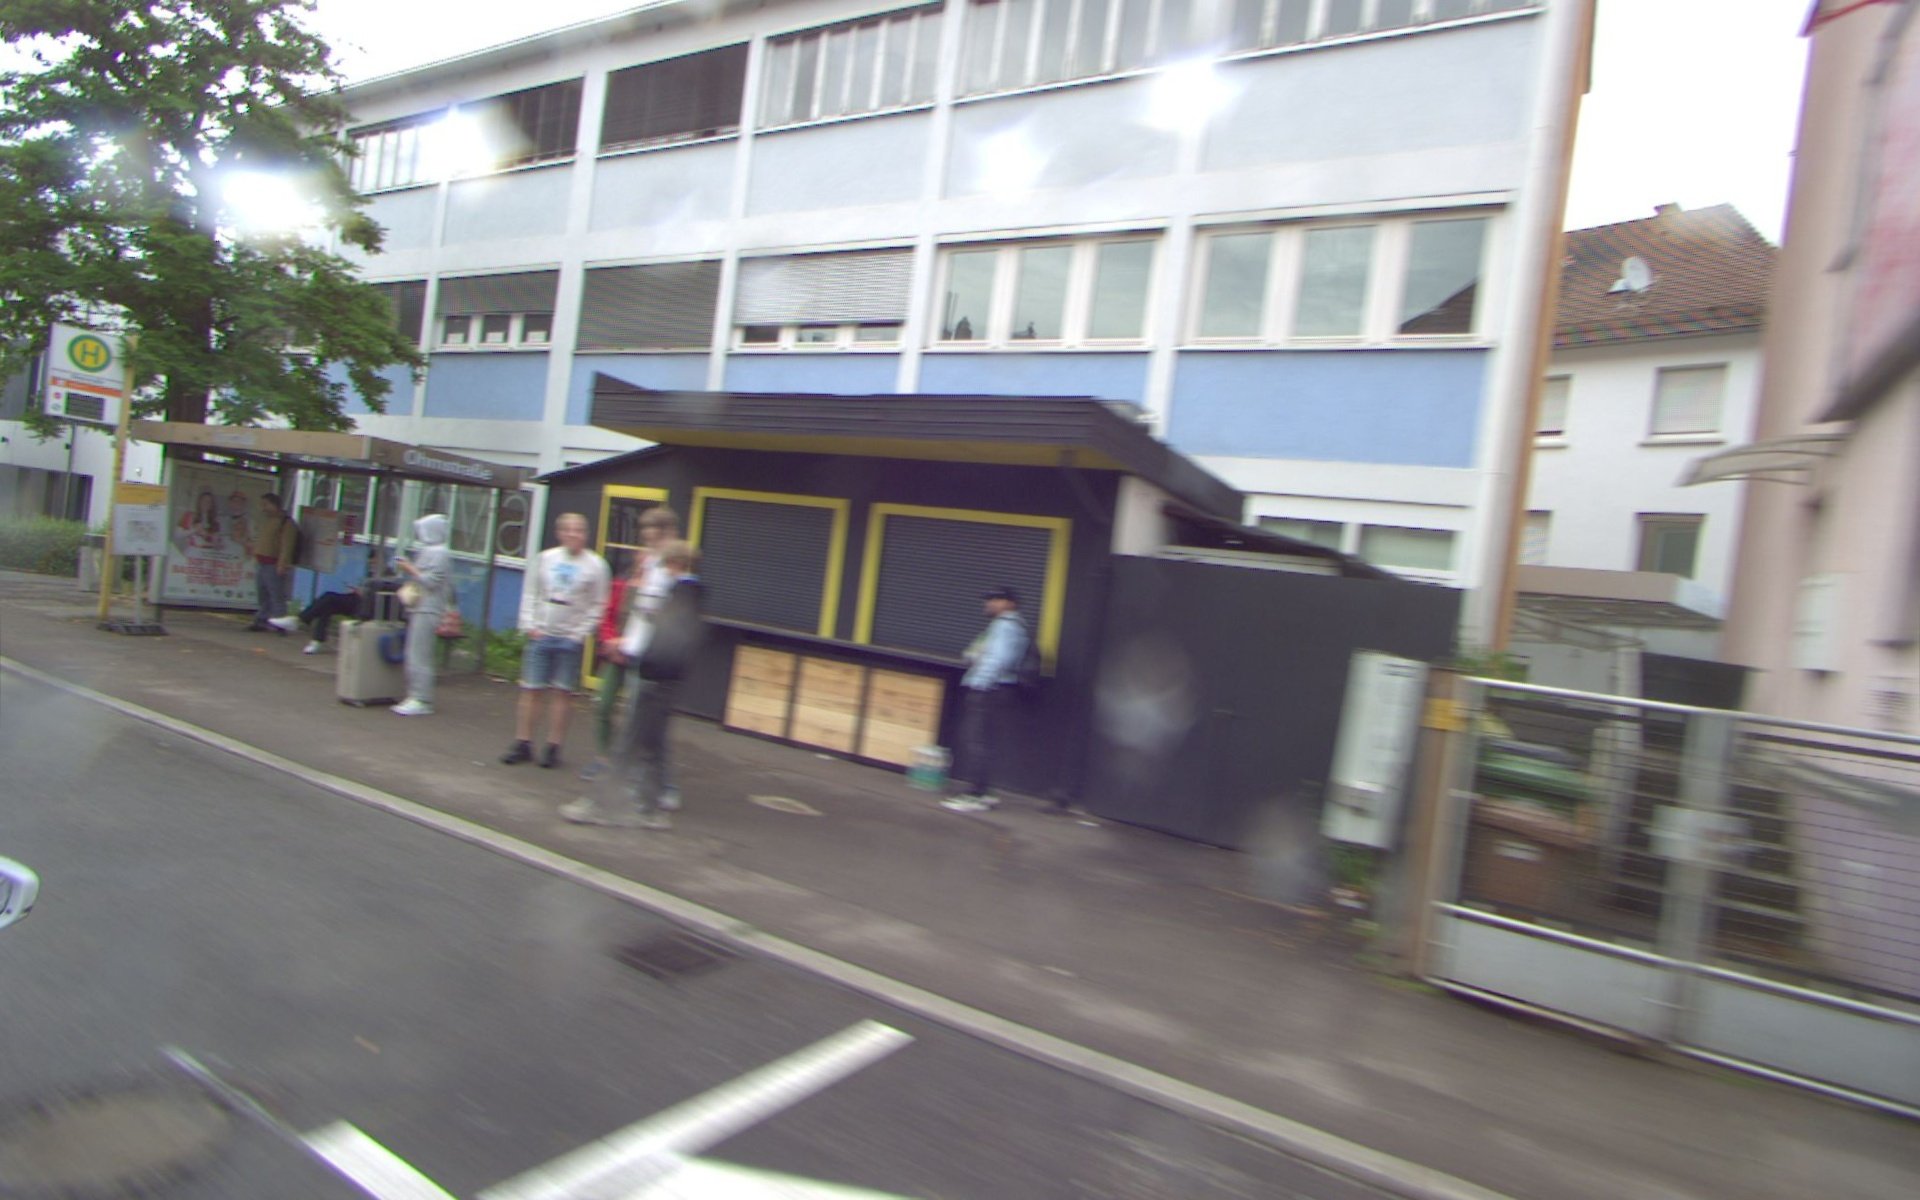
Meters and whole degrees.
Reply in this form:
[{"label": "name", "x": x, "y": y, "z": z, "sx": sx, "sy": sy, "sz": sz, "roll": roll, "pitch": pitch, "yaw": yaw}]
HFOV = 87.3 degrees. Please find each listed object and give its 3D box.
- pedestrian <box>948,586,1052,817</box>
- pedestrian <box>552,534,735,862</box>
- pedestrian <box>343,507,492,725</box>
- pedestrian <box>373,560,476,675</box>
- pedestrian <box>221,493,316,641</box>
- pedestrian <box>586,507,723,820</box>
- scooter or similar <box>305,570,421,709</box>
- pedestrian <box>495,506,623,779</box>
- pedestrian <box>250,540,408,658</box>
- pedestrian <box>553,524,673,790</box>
[{"label": "pedestrian", "x": 0.308, "y": 0.744, "z": 7.732, "sx": 0.613, "sy": 1.647, "sz": 0.674, "roll": 6, "pitch": 3, "yaw": 2}, {"label": "pedestrian", "x": -1.797, "y": 0.532, "z": 5.796, "sx": 0.735, "sy": 1.733, "sz": 0.635, "roll": 5, "pitch": 3, "yaw": -3}, {"label": "pedestrian", "x": -4.724, "y": 0.134, "z": 8.773, "sx": 0.814, "sy": 1.764, "sz": 0.661, "roll": 7, "pitch": 2, "yaw": 26}, {"label": "pedestrian", "x": -6.175, "y": 0.204, "z": 11.611, "sx": 0.728, "sy": 1.214, "sz": 0.661, "roll": 7, "pitch": 1, "yaw": 26}, {"label": "pedestrian", "x": -9.149, "y": -0.427, "z": 13.320, "sx": 0.728, "sy": 1.855, "sz": 0.648, "roll": 7, "pitch": 2, "yaw": 26}, {"label": "pedestrian", "x": -1.978, "y": 0.384, "z": 6.484, "sx": 0.484, "sy": 1.900, "sz": 0.625, "roll": 3, "pitch": 4, "yaw": -43}, {"label": "scooter or similar", "x": -5.375, "y": 0.353, "z": 9.065, "sx": 0.558, "sy": 1.155, "sz": 0.618, "roll": 7, "pitch": 2, "yaw": 26}, {"label": "pedestrian", "x": -2.910, "y": 0.293, "z": 7.300, "sx": 0.594, "sy": 1.865, "sz": 0.459, "roll": 7, "pitch": 3, "yaw": 26}, {"label": "pedestrian", "x": -7.589, "y": 0.012, "z": 12.157, "sx": 0.728, "sy": 1.289, "sz": 1.358, "roll": 7, "pitch": 1, "yaw": 26}, {"label": "pedestrian", "x": -2.403, "y": 0.377, "z": 6.961, "sx": 0.549, "sy": 1.731, "sz": 0.445, "roll": 8, "pitch": 3, "yaw": 39}]
